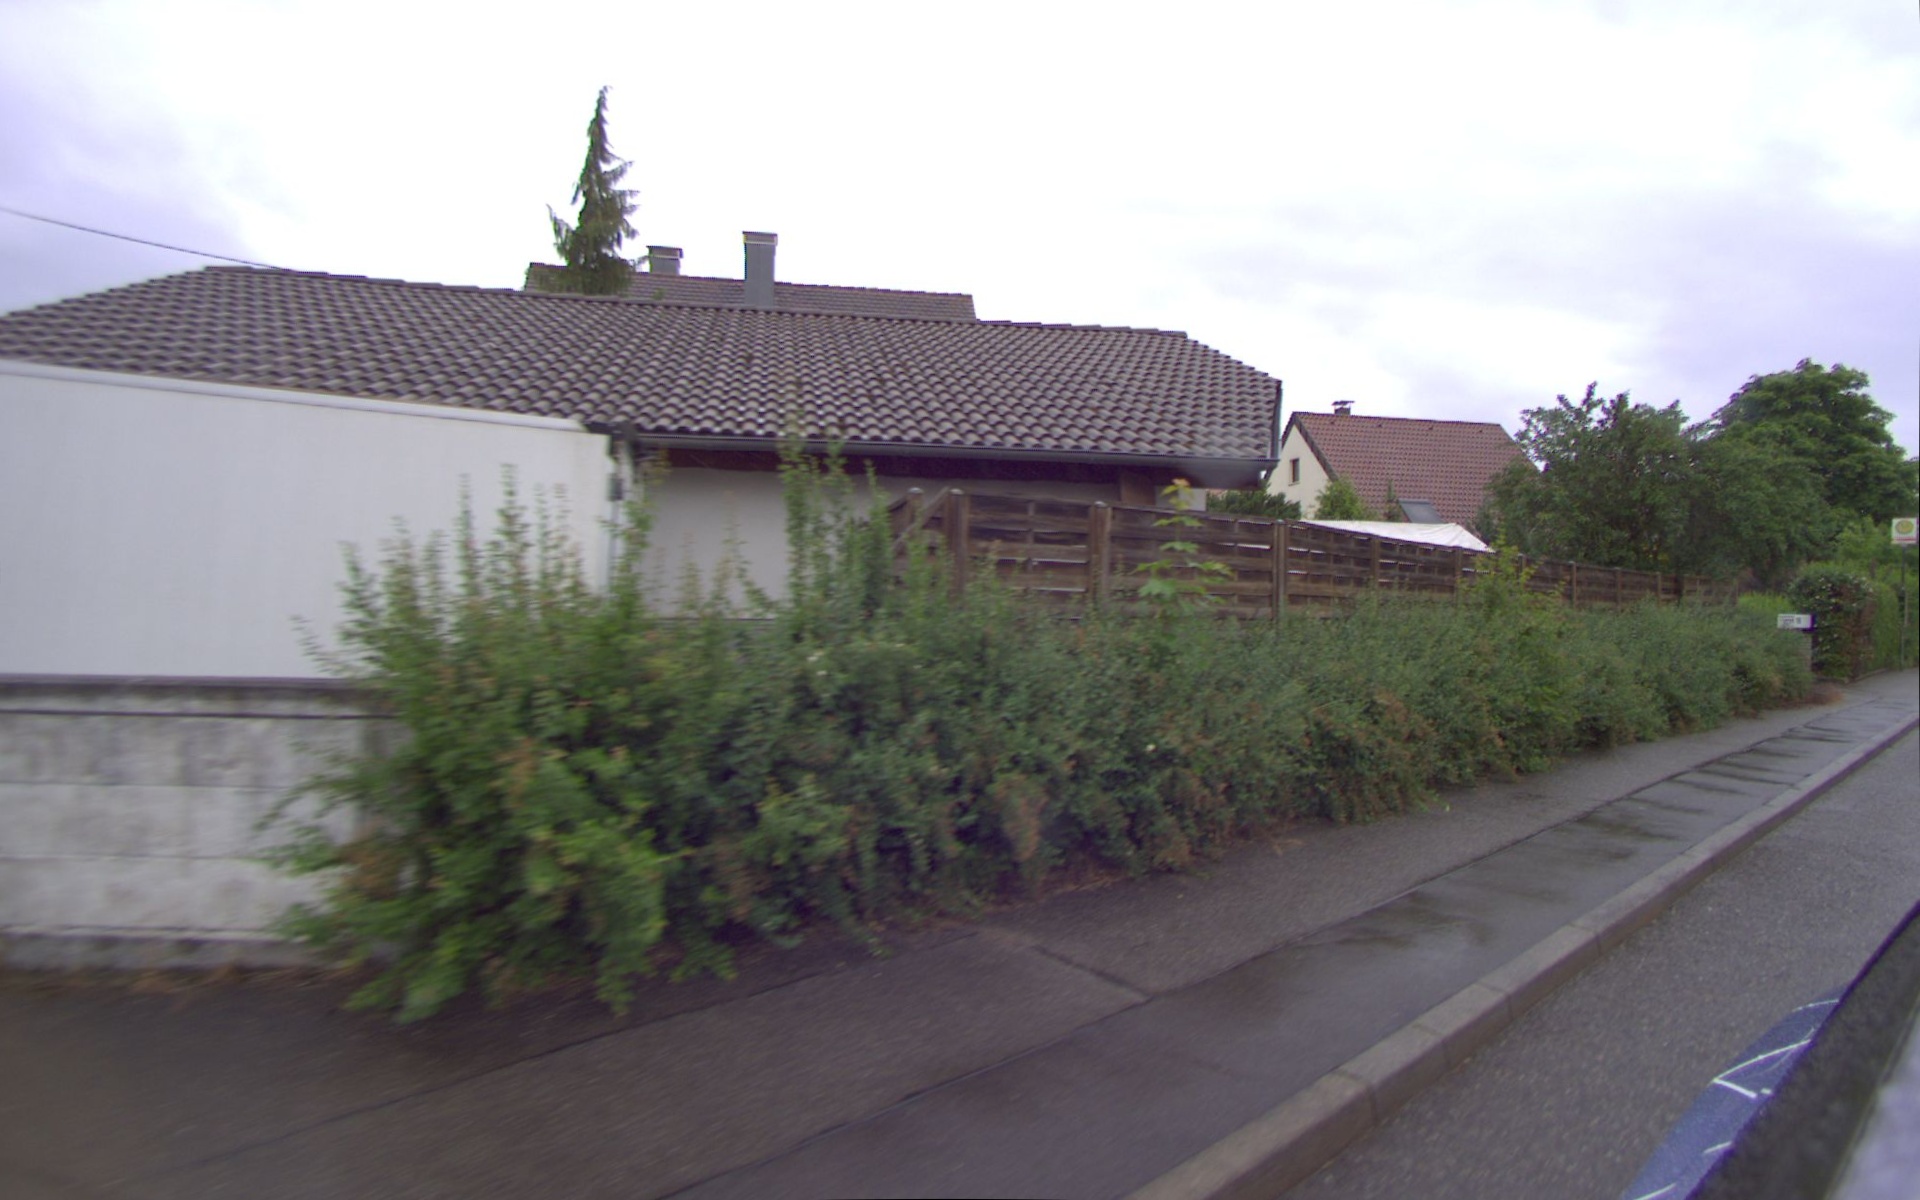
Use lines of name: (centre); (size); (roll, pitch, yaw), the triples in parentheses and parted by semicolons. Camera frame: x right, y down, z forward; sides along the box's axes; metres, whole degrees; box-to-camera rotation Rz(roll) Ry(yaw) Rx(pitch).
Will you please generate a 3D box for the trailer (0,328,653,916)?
trailer: (-4.060, 0.093, 5.262); (4.605, 2.550, 1.652); (0, -1, -12)
